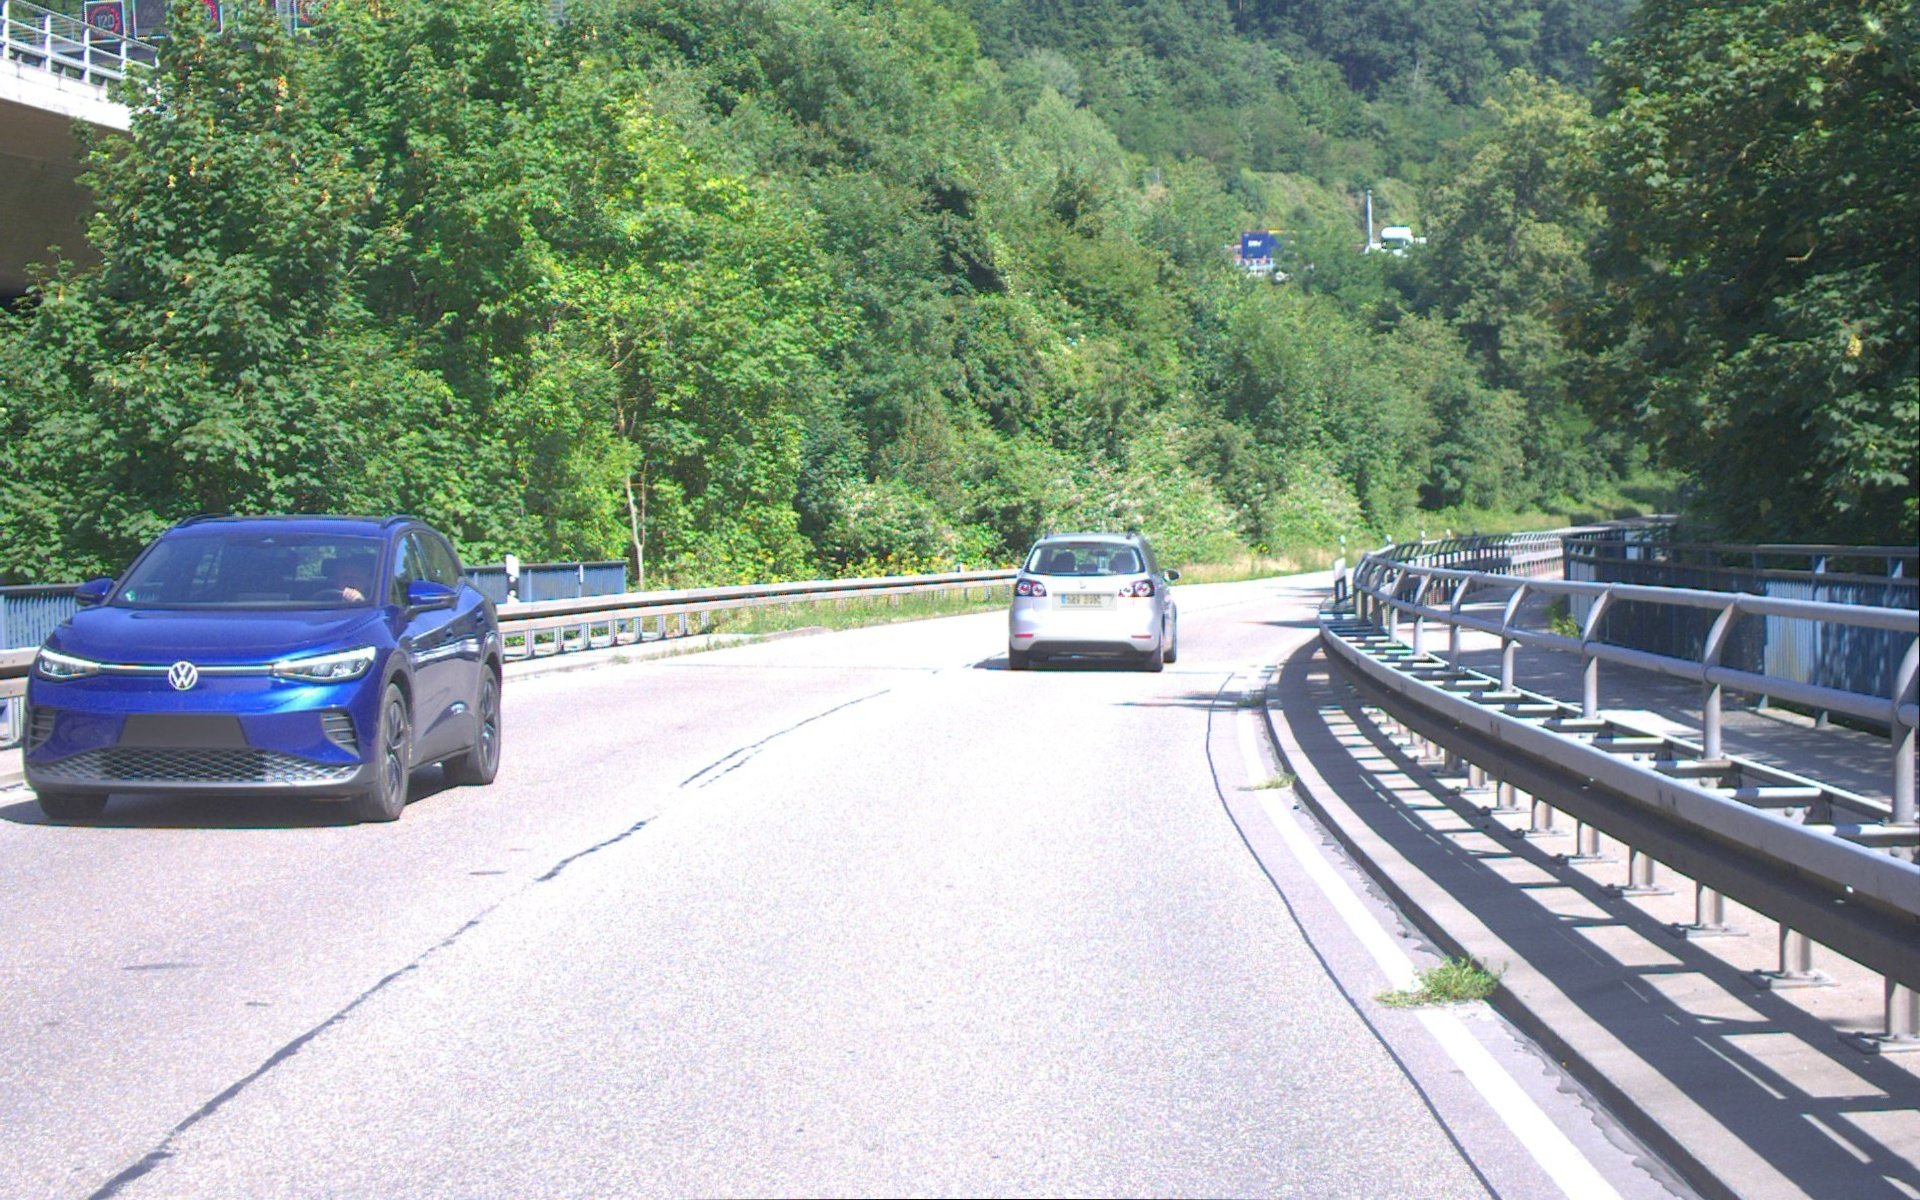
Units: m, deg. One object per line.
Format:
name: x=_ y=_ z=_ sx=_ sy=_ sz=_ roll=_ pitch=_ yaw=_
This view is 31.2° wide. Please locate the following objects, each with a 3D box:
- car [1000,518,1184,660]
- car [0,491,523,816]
car: x=1.584 y=-0.174 z=39.839 sx=1.752 sy=1.514 sz=4.158 roll=1 pitch=2 yaw=7
car: x=-3.763 y=0.217 z=19.223 sx=1.898 sy=1.575 sz=4.555 roll=1 pitch=1 yaw=2
